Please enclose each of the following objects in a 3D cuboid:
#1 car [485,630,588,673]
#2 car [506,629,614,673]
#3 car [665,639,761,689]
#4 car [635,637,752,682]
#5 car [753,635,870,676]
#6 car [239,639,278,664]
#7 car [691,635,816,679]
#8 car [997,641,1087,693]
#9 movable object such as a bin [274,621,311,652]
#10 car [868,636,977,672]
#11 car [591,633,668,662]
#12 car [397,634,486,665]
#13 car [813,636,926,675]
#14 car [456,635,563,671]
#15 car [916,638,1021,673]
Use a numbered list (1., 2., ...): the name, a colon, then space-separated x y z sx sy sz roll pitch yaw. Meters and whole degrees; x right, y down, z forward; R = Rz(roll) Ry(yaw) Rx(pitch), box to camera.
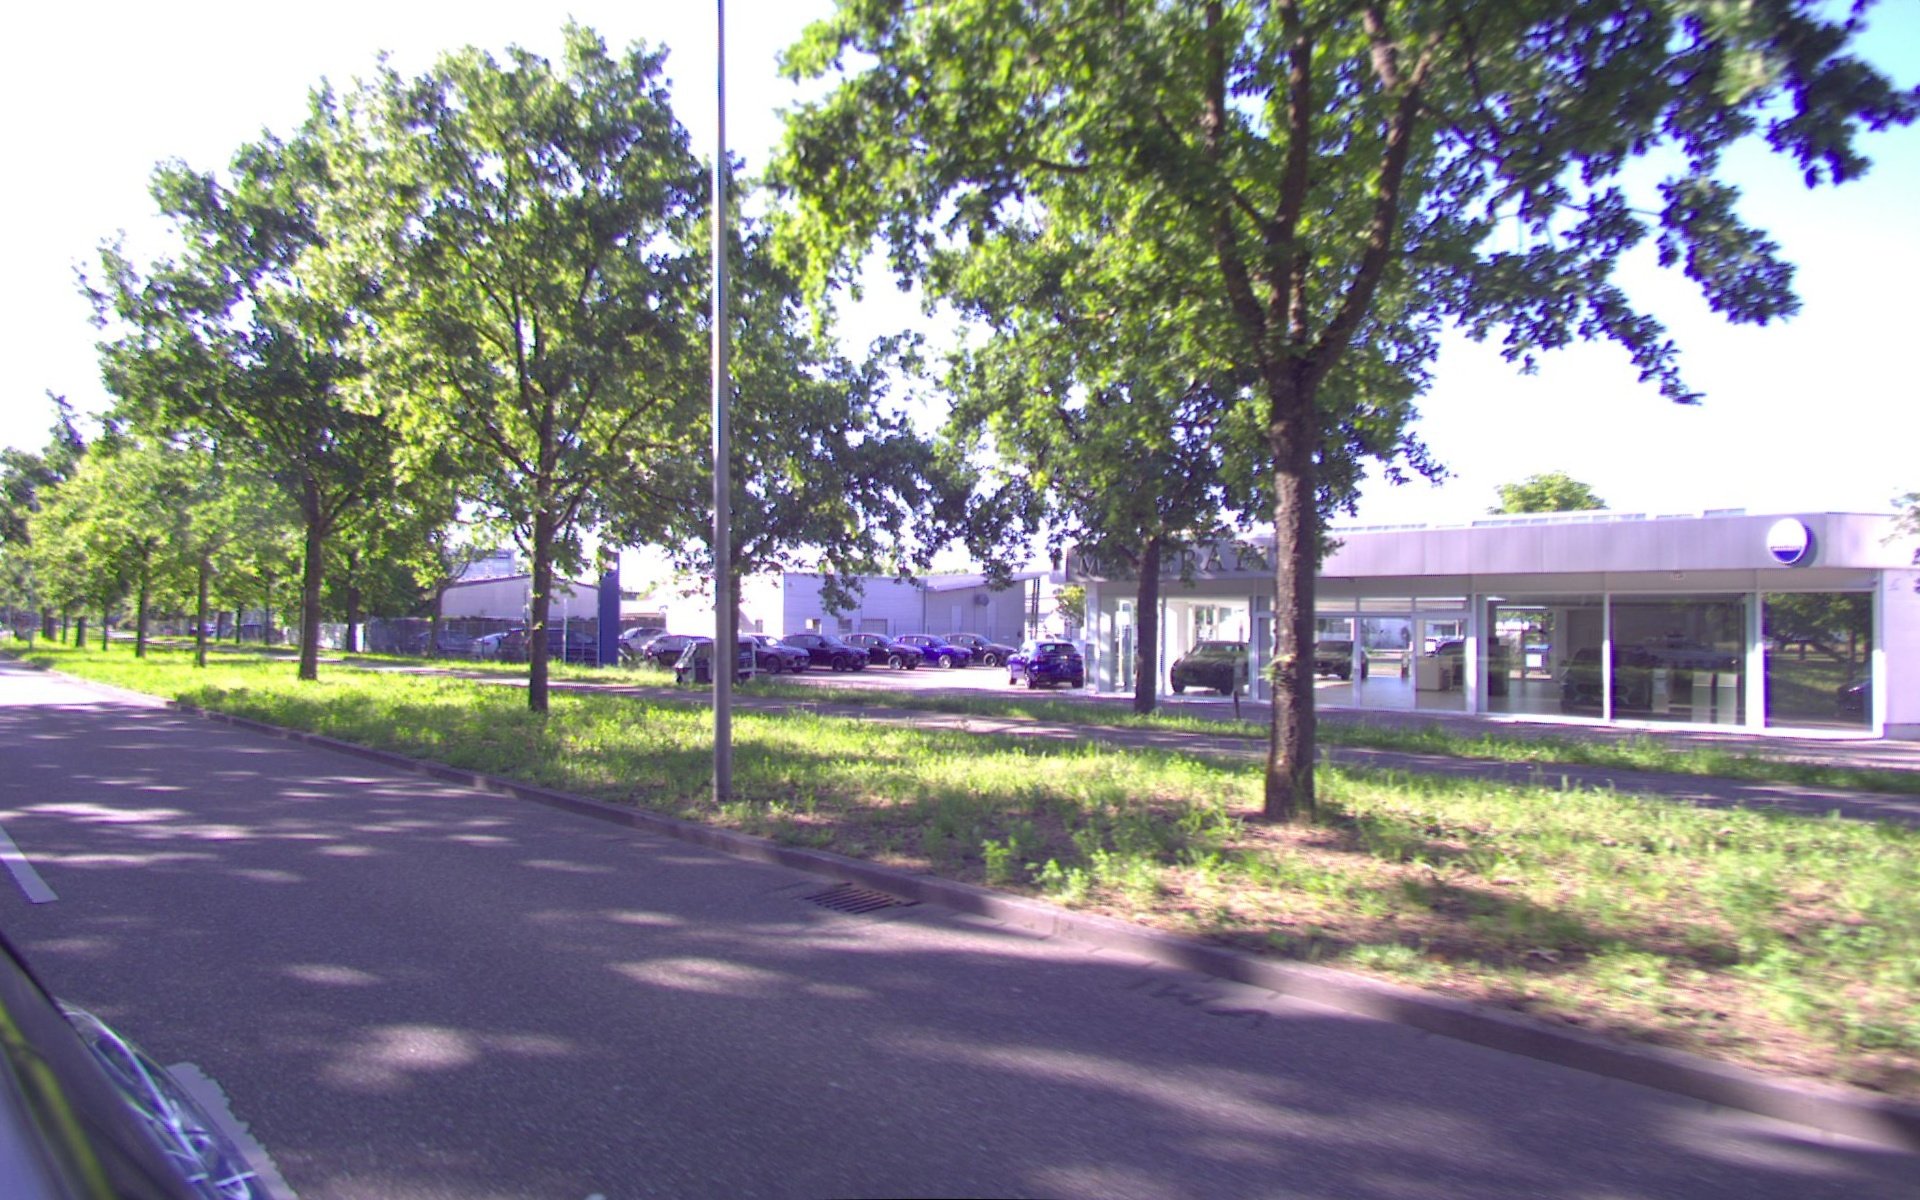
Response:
1. car: -19.342 2.310 46.346 1.863 1.759 3.941 -1 -1 45
2. car: -17.413 2.180 44.166 3.941 1.755 2.001 0 -1 -44
3. car: -7.563 1.931 31.039 2.531 1.481 1.430 1 -2 -31
4. car: -10.924 2.385 41.496 4.477 1.688 1.982 -1 -1 27
5. car: -6.829 2.489 46.371 5.239 1.702 1.980 -1 -1 30
6. car: -63.391 4.633 91.409 1.970 2.191 5.675 2 -3 -44
7. car: -8.948 2.401 43.739 5.236 1.730 1.981 -1 -1 29
8. car: 2.805 2.311 35.987 1.968 1.673 5.270 -1 -2 -9
9. movable object such as a bin: -57.375 3.117 86.938 1.970 2.535 4.240 0 -1 -43
10. car: -1.900 2.674 50.835 5.239 1.673 1.980 -1 -1 30
11. car: -19.467 2.781 59.686 1.752 1.530 3.941 -1 -1 45
12. car: -28.724 2.732 56.141 2.199 1.530 3.941 -1 -1 45
13. car: -4.363 2.624 48.616 5.239 1.673 1.980 -1 -1 30
14. car: -21.377 2.480 48.119 1.863 1.530 4.262 -1 -1 45
15. car: 0.415 2.880 53.001 5.239 1.673 1.980 -1 -1 30
